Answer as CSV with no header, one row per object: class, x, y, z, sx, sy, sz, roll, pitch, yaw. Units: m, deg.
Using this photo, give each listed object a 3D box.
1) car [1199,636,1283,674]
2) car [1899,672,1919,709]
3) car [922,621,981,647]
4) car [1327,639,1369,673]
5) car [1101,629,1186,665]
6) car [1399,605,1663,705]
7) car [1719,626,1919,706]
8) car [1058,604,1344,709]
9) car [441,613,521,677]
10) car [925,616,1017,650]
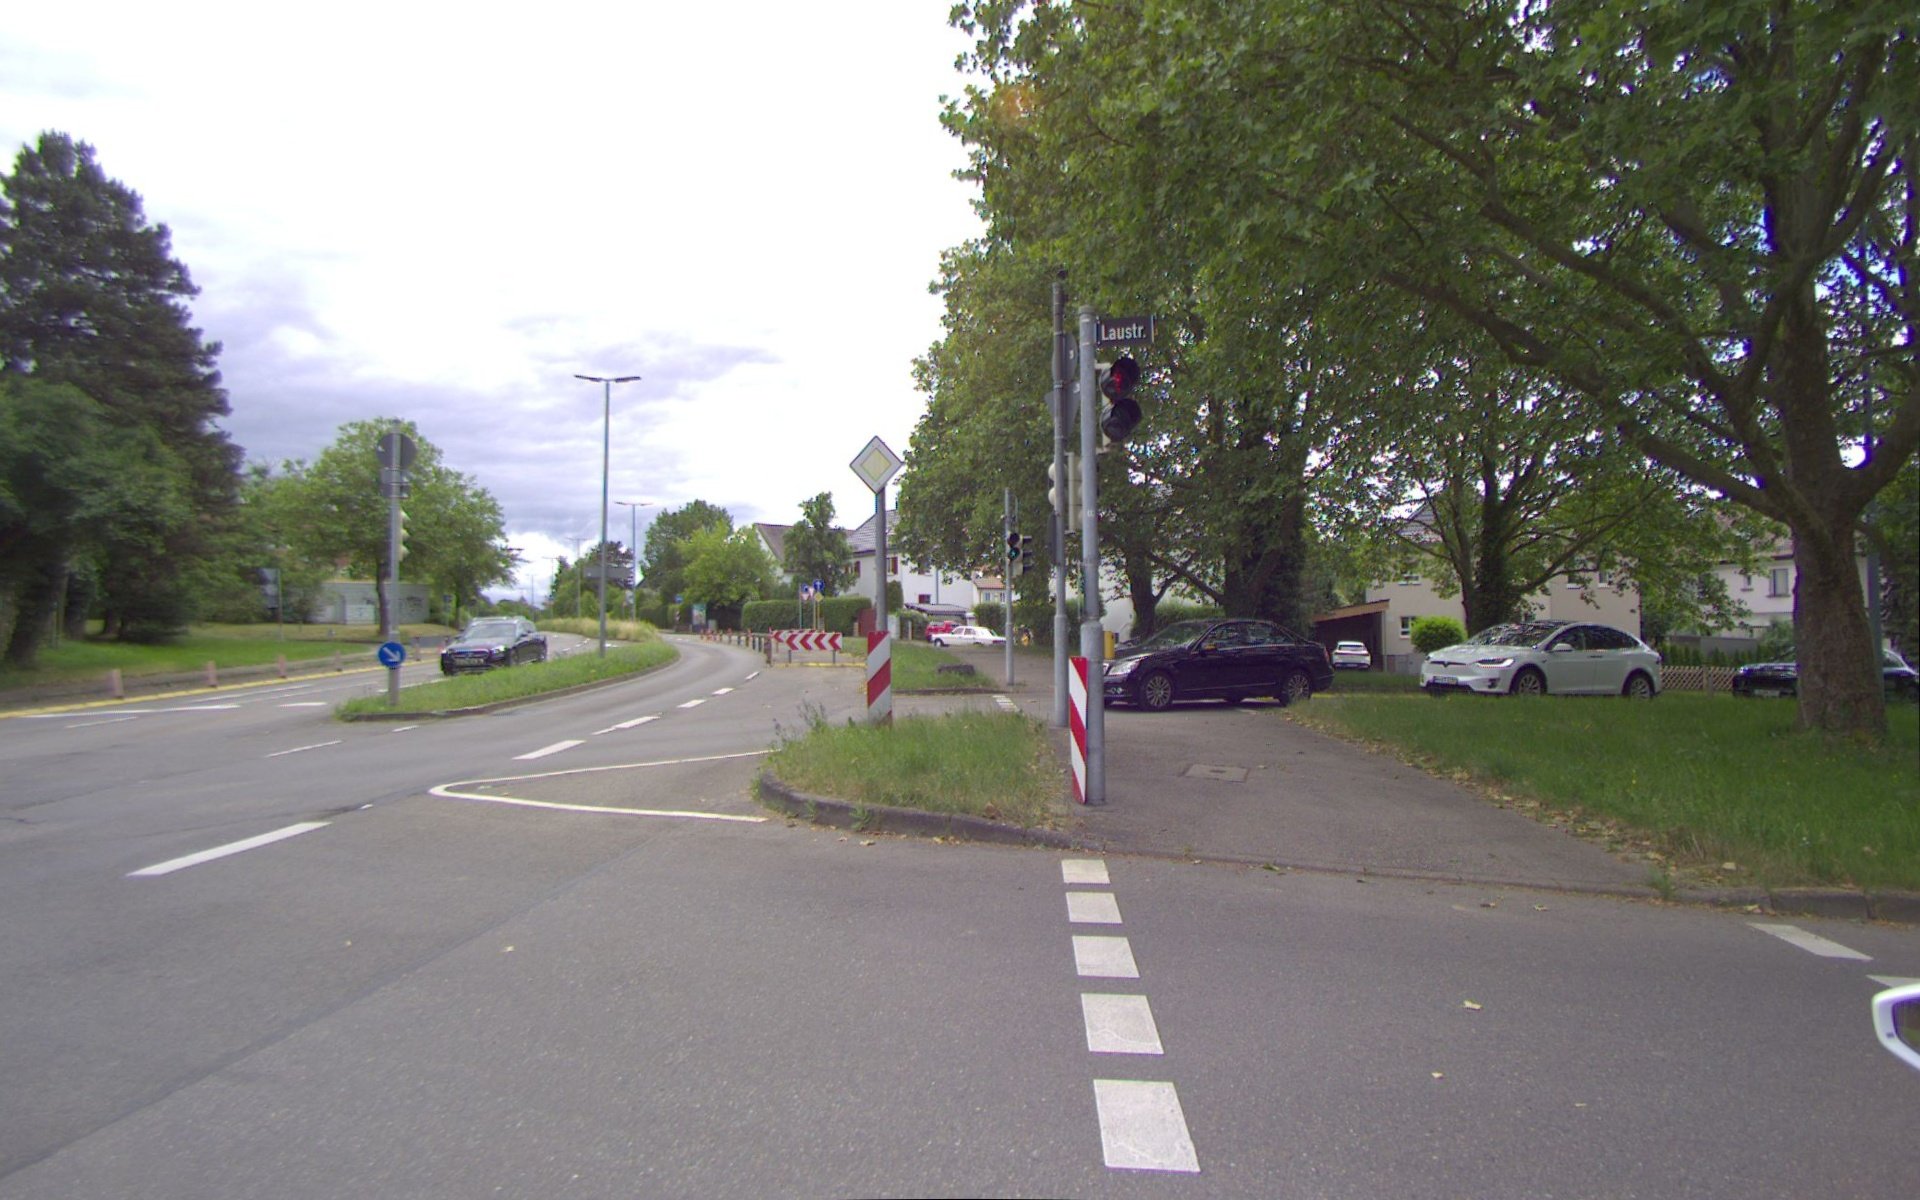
car,13.674,2.651,48.884,3.705,1.576,1.782,2,1,22
car,42.268,3.840,42.132,4.195,1.493,1.733,1,-2,-2
car,-0.508,2.201,64.262,1.588,1.537,3.802,0,-2,44
car,19.920,2.855,51.503,1.840,1.568,3.378,-2,-1,23
car,9.288,2.356,50.913,3.921,1.534,1.660,2,1,25
car,10.873,0.966,19.107,4.837,1.680,1.847,0,-1,-23
car,19.356,1.407,22.500,4.547,1.612,1.753,0,-1,-23
car,3.916,0.924,16.304,4.325,1.537,1.753,2,-2,-23
car,-13.843,1.250,29.218,1.819,1.653,4.238,-2,0,-23
car,0.570,1.827,56.491,4.804,1.815,2.209,-1,-1,36
